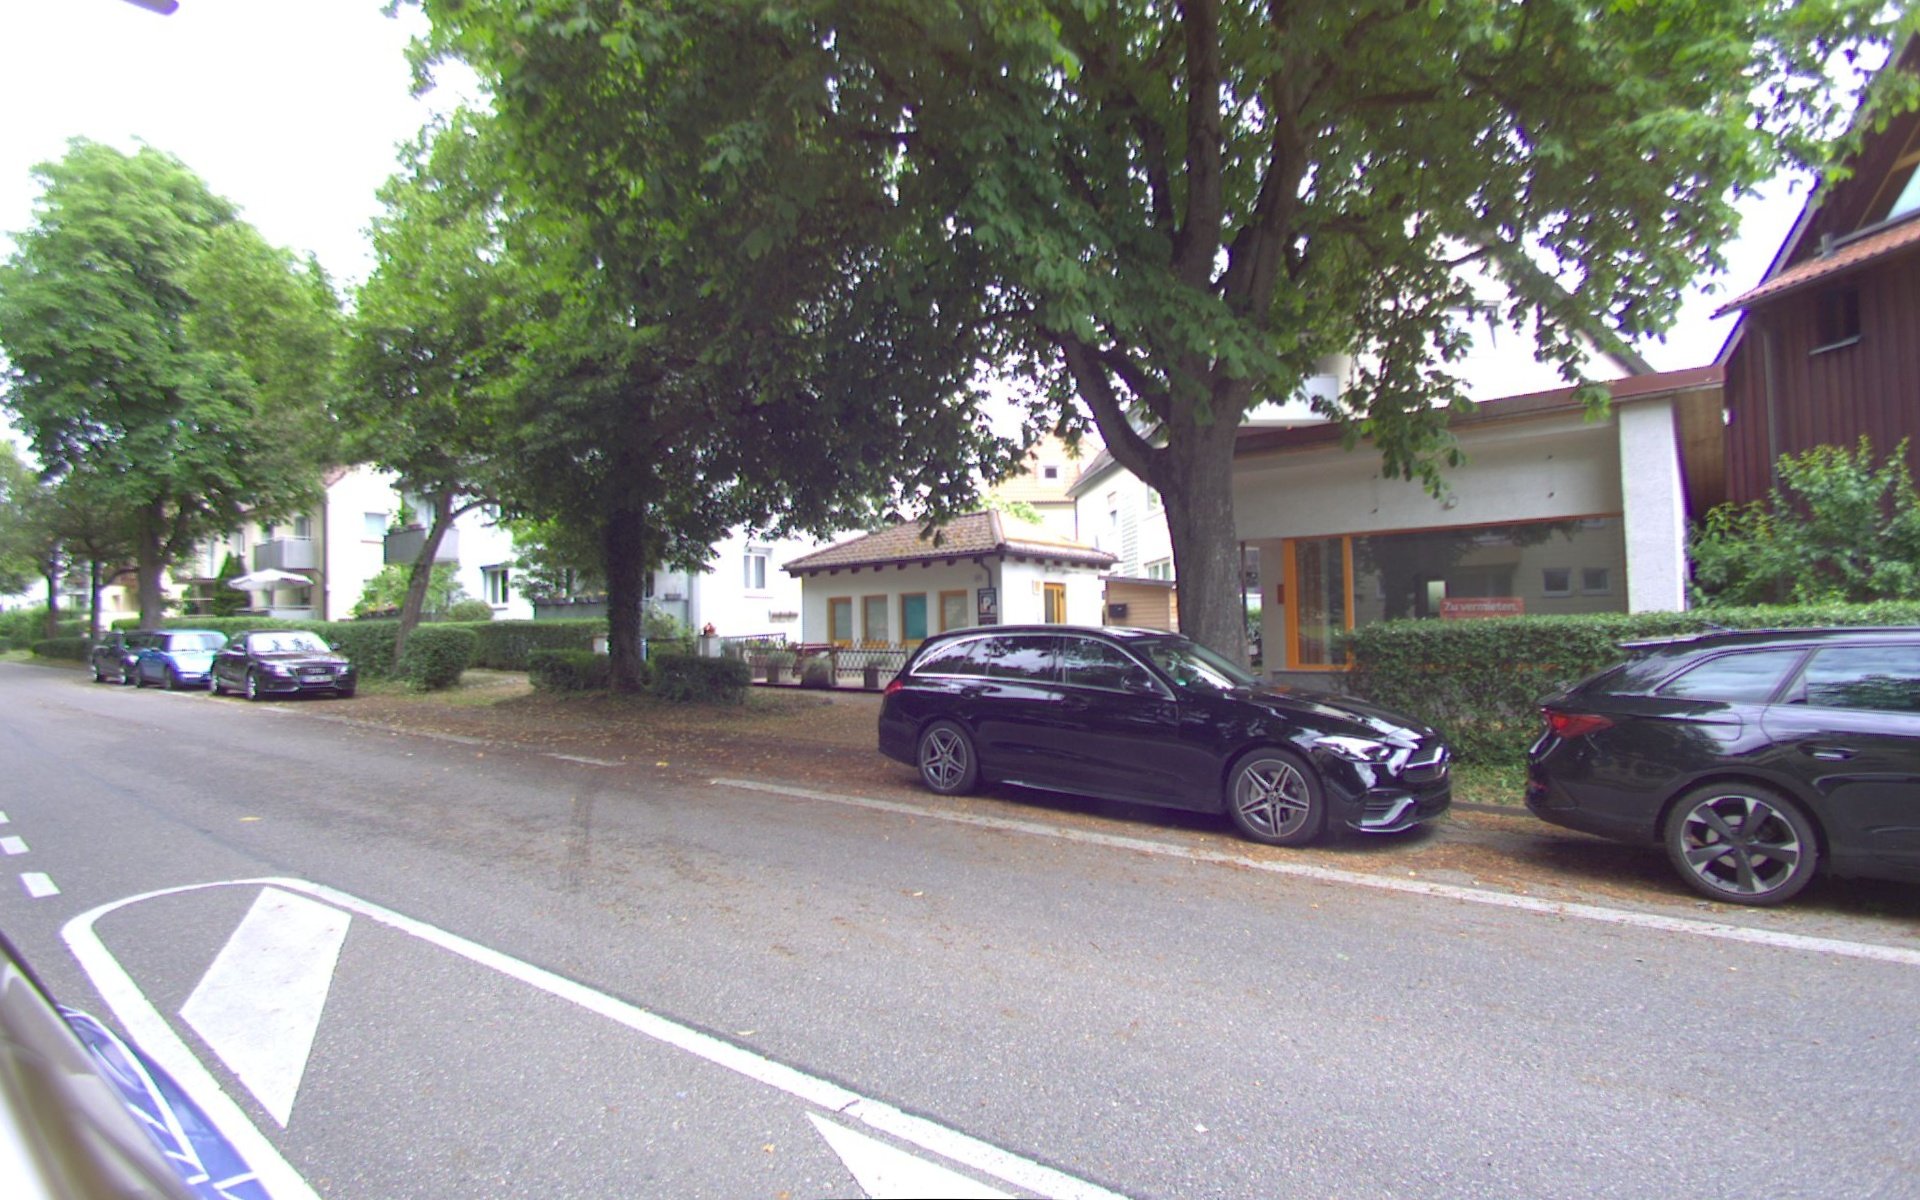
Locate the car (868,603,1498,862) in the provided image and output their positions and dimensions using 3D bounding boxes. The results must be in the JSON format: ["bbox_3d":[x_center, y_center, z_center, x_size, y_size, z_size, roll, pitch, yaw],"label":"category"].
[{"bbox_3d":[1.561,0.863,8.200,4.612,1.511,1.973,-2,-3,41],"label":"car"}]

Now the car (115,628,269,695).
[{"bbox_3d":[-18.910,1.464,24.860,4.558,1.512,1.866,-2,-3,37],"label":"car"}]

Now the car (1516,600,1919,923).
[{"bbox_3d":[5.456,0.754,4.988,4.536,1.497,1.674,-2,-3,38],"label":"car"}]

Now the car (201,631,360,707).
[{"bbox_3d":[-14.216,1.377,21.093,4.169,1.414,1.713,-2,-3,41],"label":"car"}]

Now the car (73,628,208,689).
[{"bbox_3d":[-22.598,1.563,27.852,4.558,1.545,1.866,-2,-3,37],"label":"car"}]
